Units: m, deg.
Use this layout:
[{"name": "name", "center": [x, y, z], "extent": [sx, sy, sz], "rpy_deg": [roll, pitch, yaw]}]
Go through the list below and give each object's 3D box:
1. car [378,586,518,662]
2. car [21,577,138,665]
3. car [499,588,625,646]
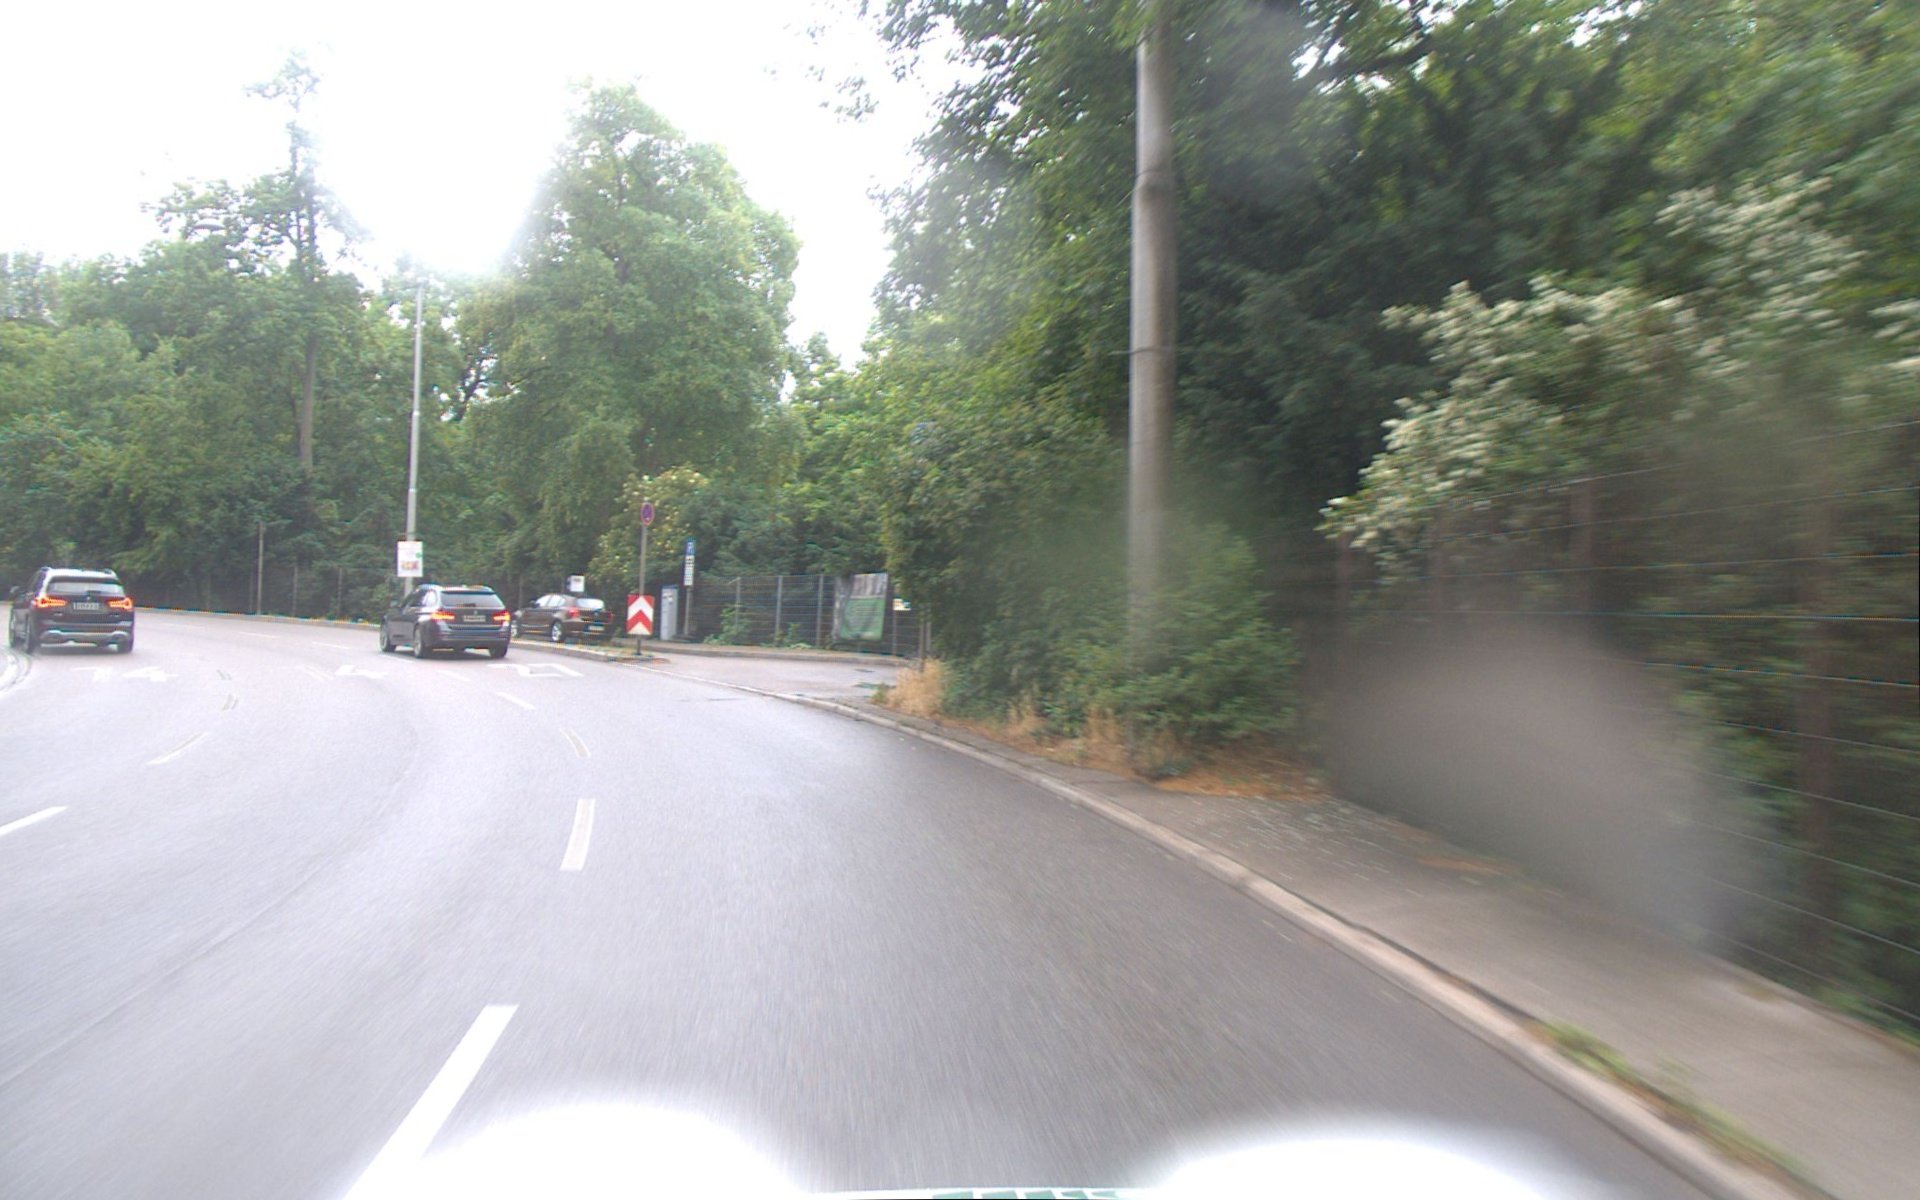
[{"name": "car", "center": [-10.732, 0.471, 34.460], "extent": [1.741, 1.457, 4.364], "rpy_deg": [-1, 0, -32]}, {"name": "car", "center": [-17.950, 0.367, 33.622], "extent": [1.741, 1.613, 4.362], "rpy_deg": [0, 1, -33]}, {"name": "car", "center": [-11.839, 0.492, 49.034], "extent": [1.678, 1.451, 4.304], "rpy_deg": [6, -2, -42]}]
